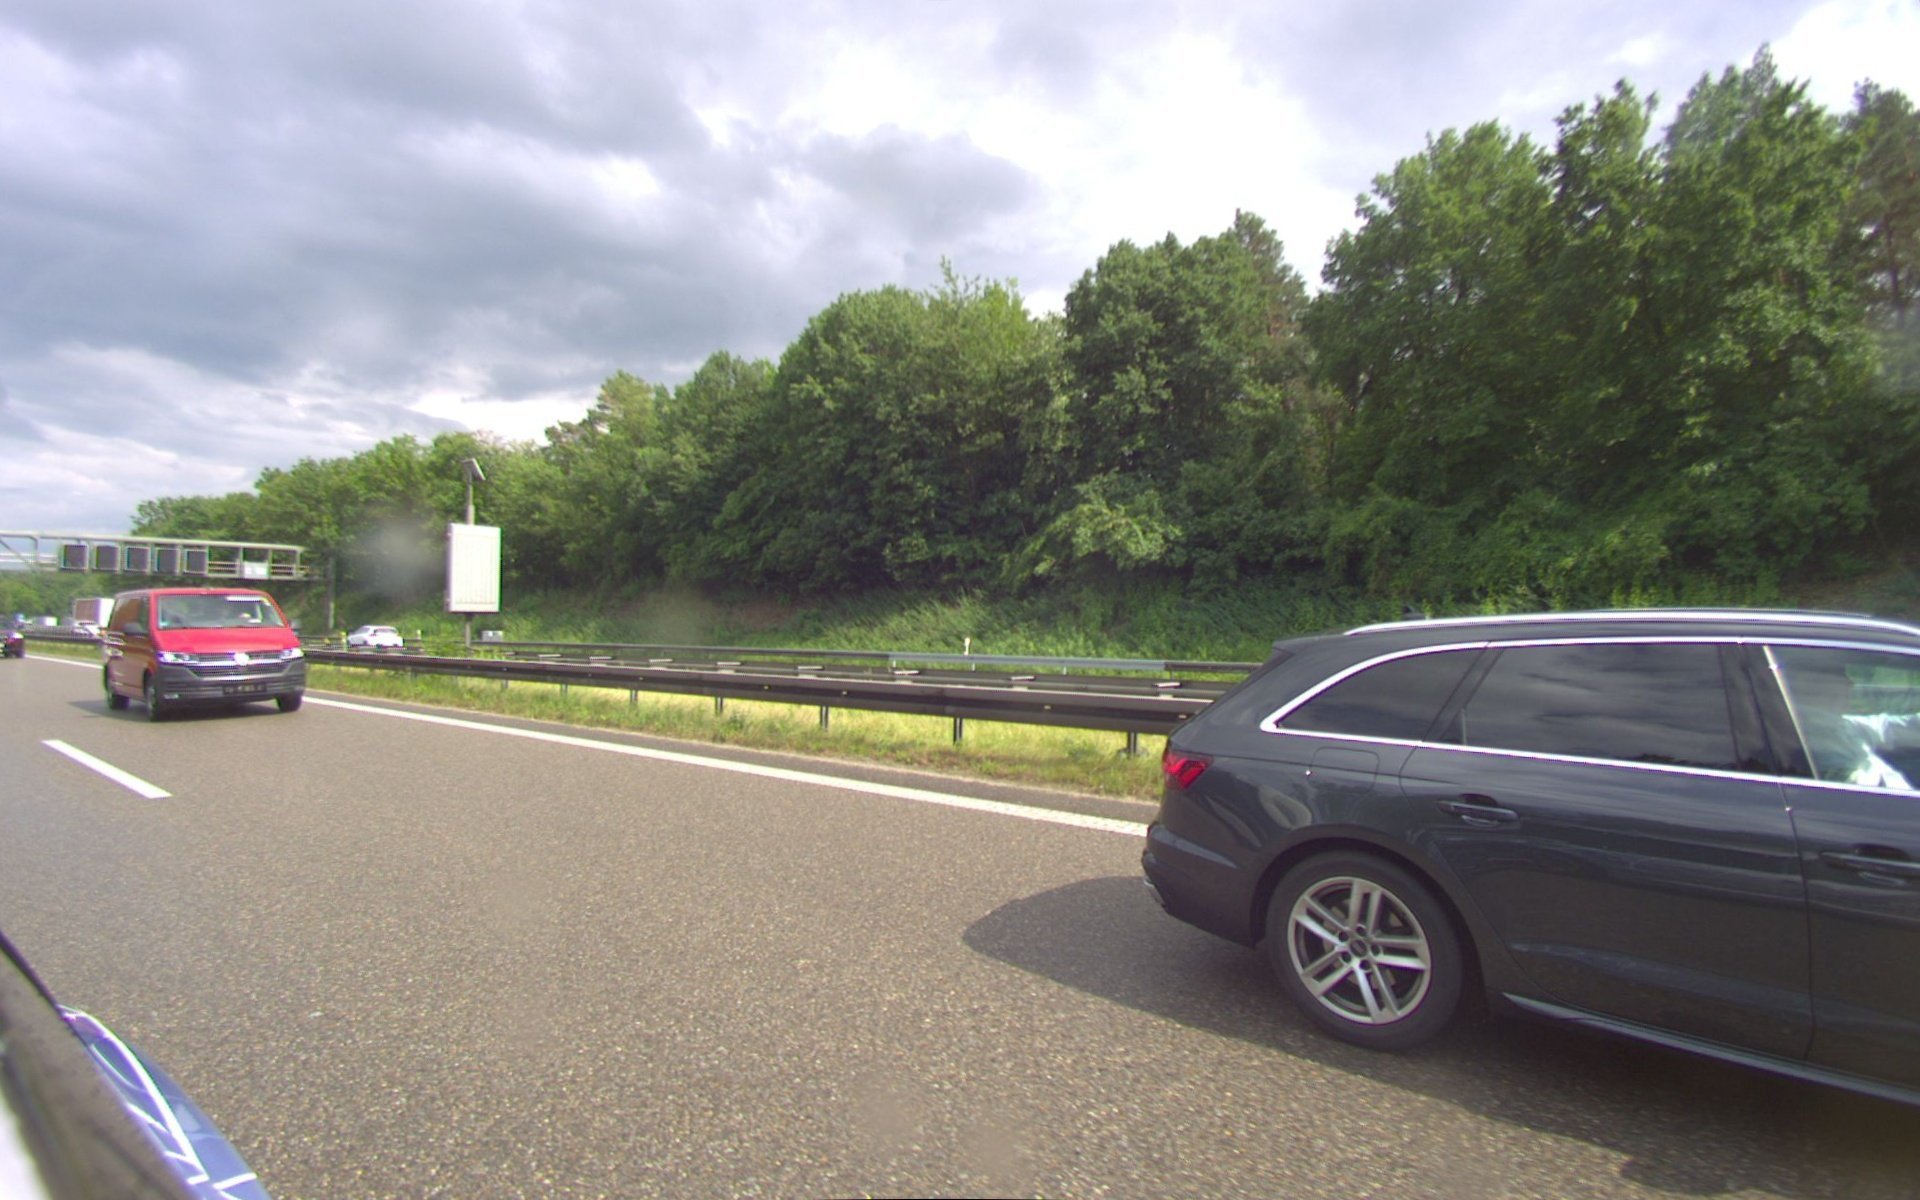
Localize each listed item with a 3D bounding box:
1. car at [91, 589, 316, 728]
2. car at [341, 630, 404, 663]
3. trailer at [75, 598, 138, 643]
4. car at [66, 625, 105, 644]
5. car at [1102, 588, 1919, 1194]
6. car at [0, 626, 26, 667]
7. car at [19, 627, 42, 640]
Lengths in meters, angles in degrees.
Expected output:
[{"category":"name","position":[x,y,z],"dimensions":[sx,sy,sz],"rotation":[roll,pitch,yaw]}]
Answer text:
[{"category":"car","position":[-12.050,0.814,15.979],"dimensions":[4.837,1.880,1.902],"rotation":[-1,0,41]},{"category":"car","position":[-32.544,2.560,56.009],"dimensions":[4.233,1.675,1.714],"rotation":[-1,0,40]},{"category":"trailer","position":[-89.903,2.152,106.446],"dimensions":[14.082,4.406,2.834],"rotation":[-1,0,41]},{"category":"car","position":[-80.374,3.155,92.971],"dimensions":[4.695,1.675,1.996],"rotation":[-1,0,40]},{"category":"car","position":[2.946,0.678,2.963],"dimensions":[4.837,1.429,1.775],"rotation":[-1,0,41]},{"category":"car","position":[-37.496,1.774,38.830],"dimensions":[4.837,1.508,1.983],"rotation":[-1,0,41]},{"category":"car","position":[-122.675,4.441,133.538],"dimensions":[4.233,1.675,1.682],"rotation":[-1,0,40]}]
